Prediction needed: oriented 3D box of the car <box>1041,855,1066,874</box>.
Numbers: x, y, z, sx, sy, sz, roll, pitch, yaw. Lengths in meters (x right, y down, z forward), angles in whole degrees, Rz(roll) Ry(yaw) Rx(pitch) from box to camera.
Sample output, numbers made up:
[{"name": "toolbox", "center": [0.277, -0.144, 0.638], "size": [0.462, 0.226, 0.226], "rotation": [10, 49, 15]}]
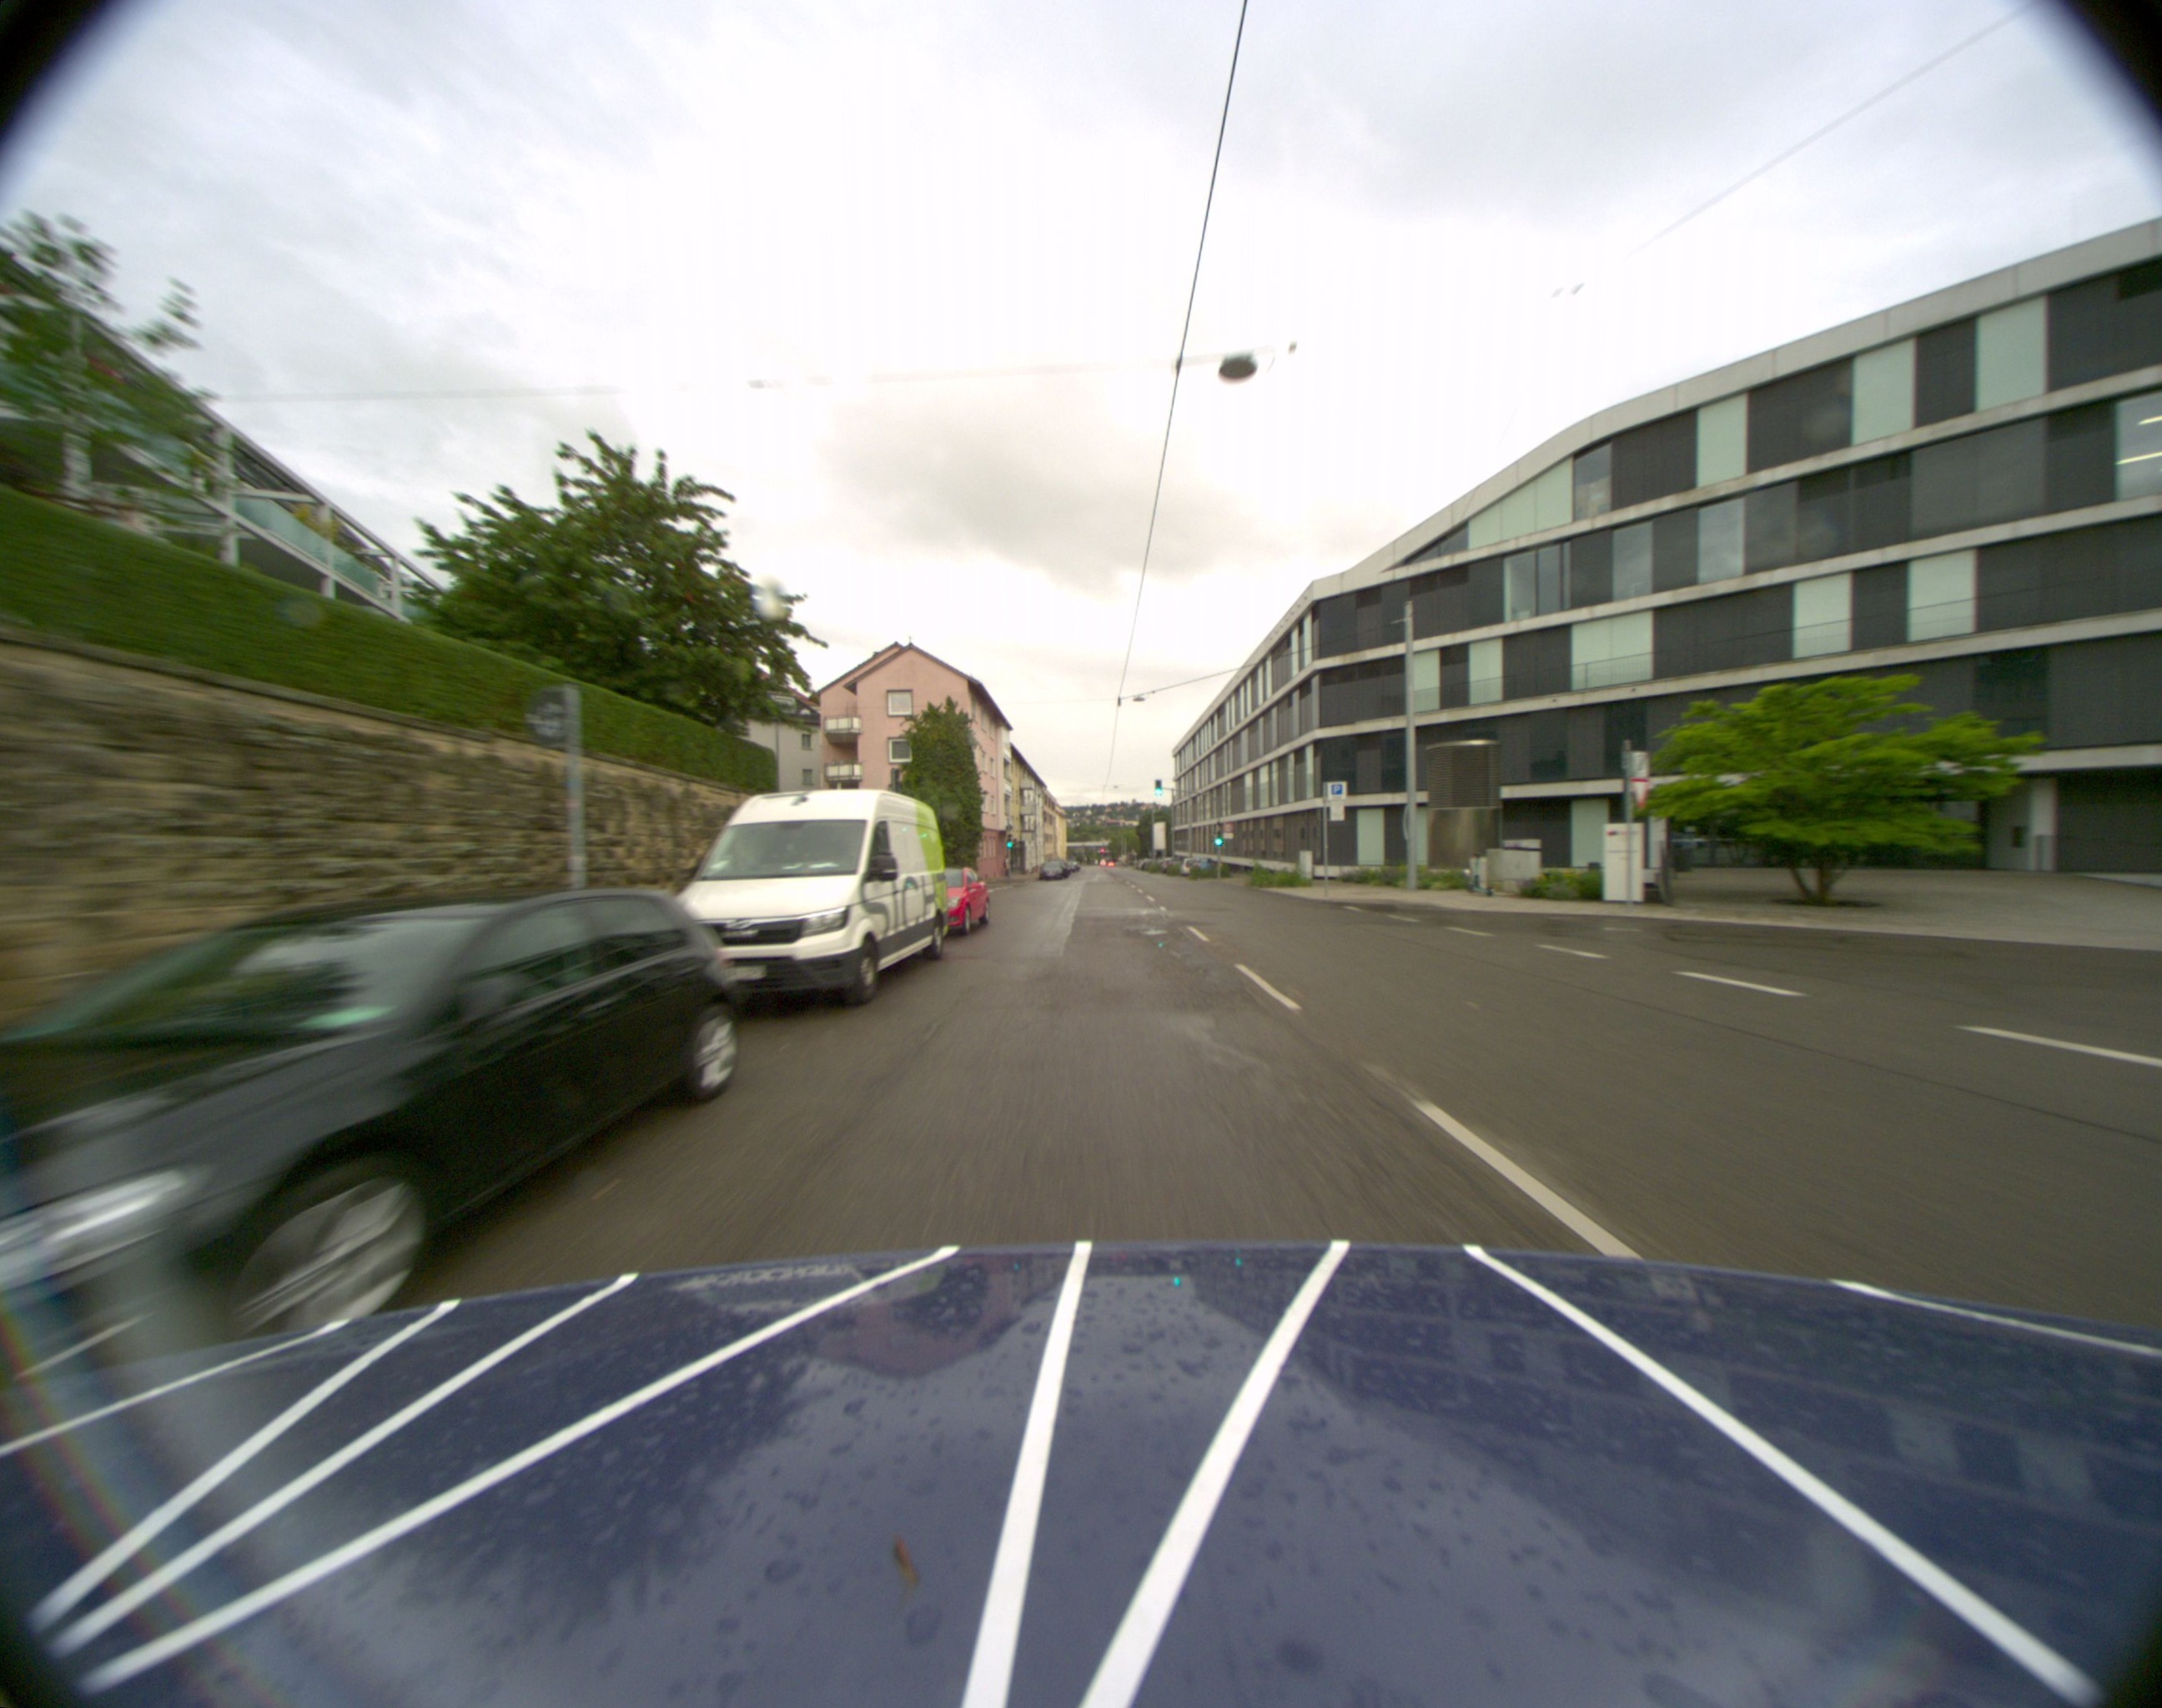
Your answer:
[{"name": "car", "center": [-2.234, 0.863, 62.477], "size": [1.796, 1.510, 4.513], "rotation": [-1, -1, 1]}]

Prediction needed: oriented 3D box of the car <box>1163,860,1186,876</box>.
[{"name": "car", "center": [9.847, 1.436, 80.230], "size": [1.835, 1.580, 4.363], "rotation": [-3, -1, 1]}]

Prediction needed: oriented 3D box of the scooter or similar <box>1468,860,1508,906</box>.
[{"name": "scooter or similar", "center": [11.670, 0.810, 21.808], "size": [0.497, 1.241, 1.232], "rotation": [-2, 0, 2]}]

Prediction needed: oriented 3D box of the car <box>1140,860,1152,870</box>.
[{"name": "car", "center": [10.370, 1.709, 121.361], "size": [1.642, 1.576, 4.042], "rotation": [-2, -1, 1]}]

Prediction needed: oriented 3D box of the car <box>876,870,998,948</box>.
[{"name": "car", "center": [-3.070, 1.127, 17.051], "size": [1.725, 1.412, 4.204], "rotation": [-3, 0, 2]}]

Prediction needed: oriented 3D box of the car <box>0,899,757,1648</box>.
[{"name": "car", "center": [-3.231, 1.068, 3.353], "size": [1.693, 1.445, 4.235], "rotation": [-3, 0, 0]}]

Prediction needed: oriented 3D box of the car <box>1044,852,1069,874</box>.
[{"name": "car", "center": [-2.125, 0.827, 67.083], "size": [1.968, 1.763, 4.513], "rotation": [3, -1, 1]}]

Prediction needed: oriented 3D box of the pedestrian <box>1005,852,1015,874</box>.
[{"name": "pedestrian", "center": [-5.752, 0.709, 61.508], "size": [0.715, 1.763, 0.748], "rotation": [2, 0, 1]}]

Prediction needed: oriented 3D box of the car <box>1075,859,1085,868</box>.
[{"name": "car", "center": [-0.159, 1.721, 138.653], "size": [1.798, 1.501, 4.001], "rotation": [-2, -1, 2]}]

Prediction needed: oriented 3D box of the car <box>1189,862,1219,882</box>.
[{"name": "car", "center": [9.380, 1.358, 58.179], "size": [1.641, 1.458, 3.584], "rotation": [-1, 0, 0]}]

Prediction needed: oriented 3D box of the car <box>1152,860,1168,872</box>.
[{"name": "car", "center": [9.980, 1.480, 96.122], "size": [1.565, 1.463, 4.042], "rotation": [-2, -1, 1]}]

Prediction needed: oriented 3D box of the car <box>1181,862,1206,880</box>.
[{"name": "car", "center": [9.318, 1.409, 63.200], "size": [1.641, 1.458, 3.584], "rotation": [-1, 0, 2]}]

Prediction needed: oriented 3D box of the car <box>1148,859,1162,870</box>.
[{"name": "car", "center": [10.213, 1.494, 105.224], "size": [1.642, 1.463, 4.042], "rotation": [-2, -1, 1]}]

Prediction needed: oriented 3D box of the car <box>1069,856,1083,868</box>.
[{"name": "car", "center": [-0.773, 1.334, 121.648], "size": [1.911, 1.865, 4.751], "rotation": [-2, -1, 2]}]

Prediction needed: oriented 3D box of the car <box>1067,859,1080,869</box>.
[{"name": "car", "center": [-1.004, 1.397, 107.947], "size": [1.630, 1.402, 3.778], "rotation": [-2, -1, 2]}]

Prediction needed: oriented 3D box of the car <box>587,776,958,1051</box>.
[{"name": "car", "center": [-3.347, 0.574, 10.073], "size": [2.211, 2.449, 6.080], "rotation": [-3, 0, 1]}]
